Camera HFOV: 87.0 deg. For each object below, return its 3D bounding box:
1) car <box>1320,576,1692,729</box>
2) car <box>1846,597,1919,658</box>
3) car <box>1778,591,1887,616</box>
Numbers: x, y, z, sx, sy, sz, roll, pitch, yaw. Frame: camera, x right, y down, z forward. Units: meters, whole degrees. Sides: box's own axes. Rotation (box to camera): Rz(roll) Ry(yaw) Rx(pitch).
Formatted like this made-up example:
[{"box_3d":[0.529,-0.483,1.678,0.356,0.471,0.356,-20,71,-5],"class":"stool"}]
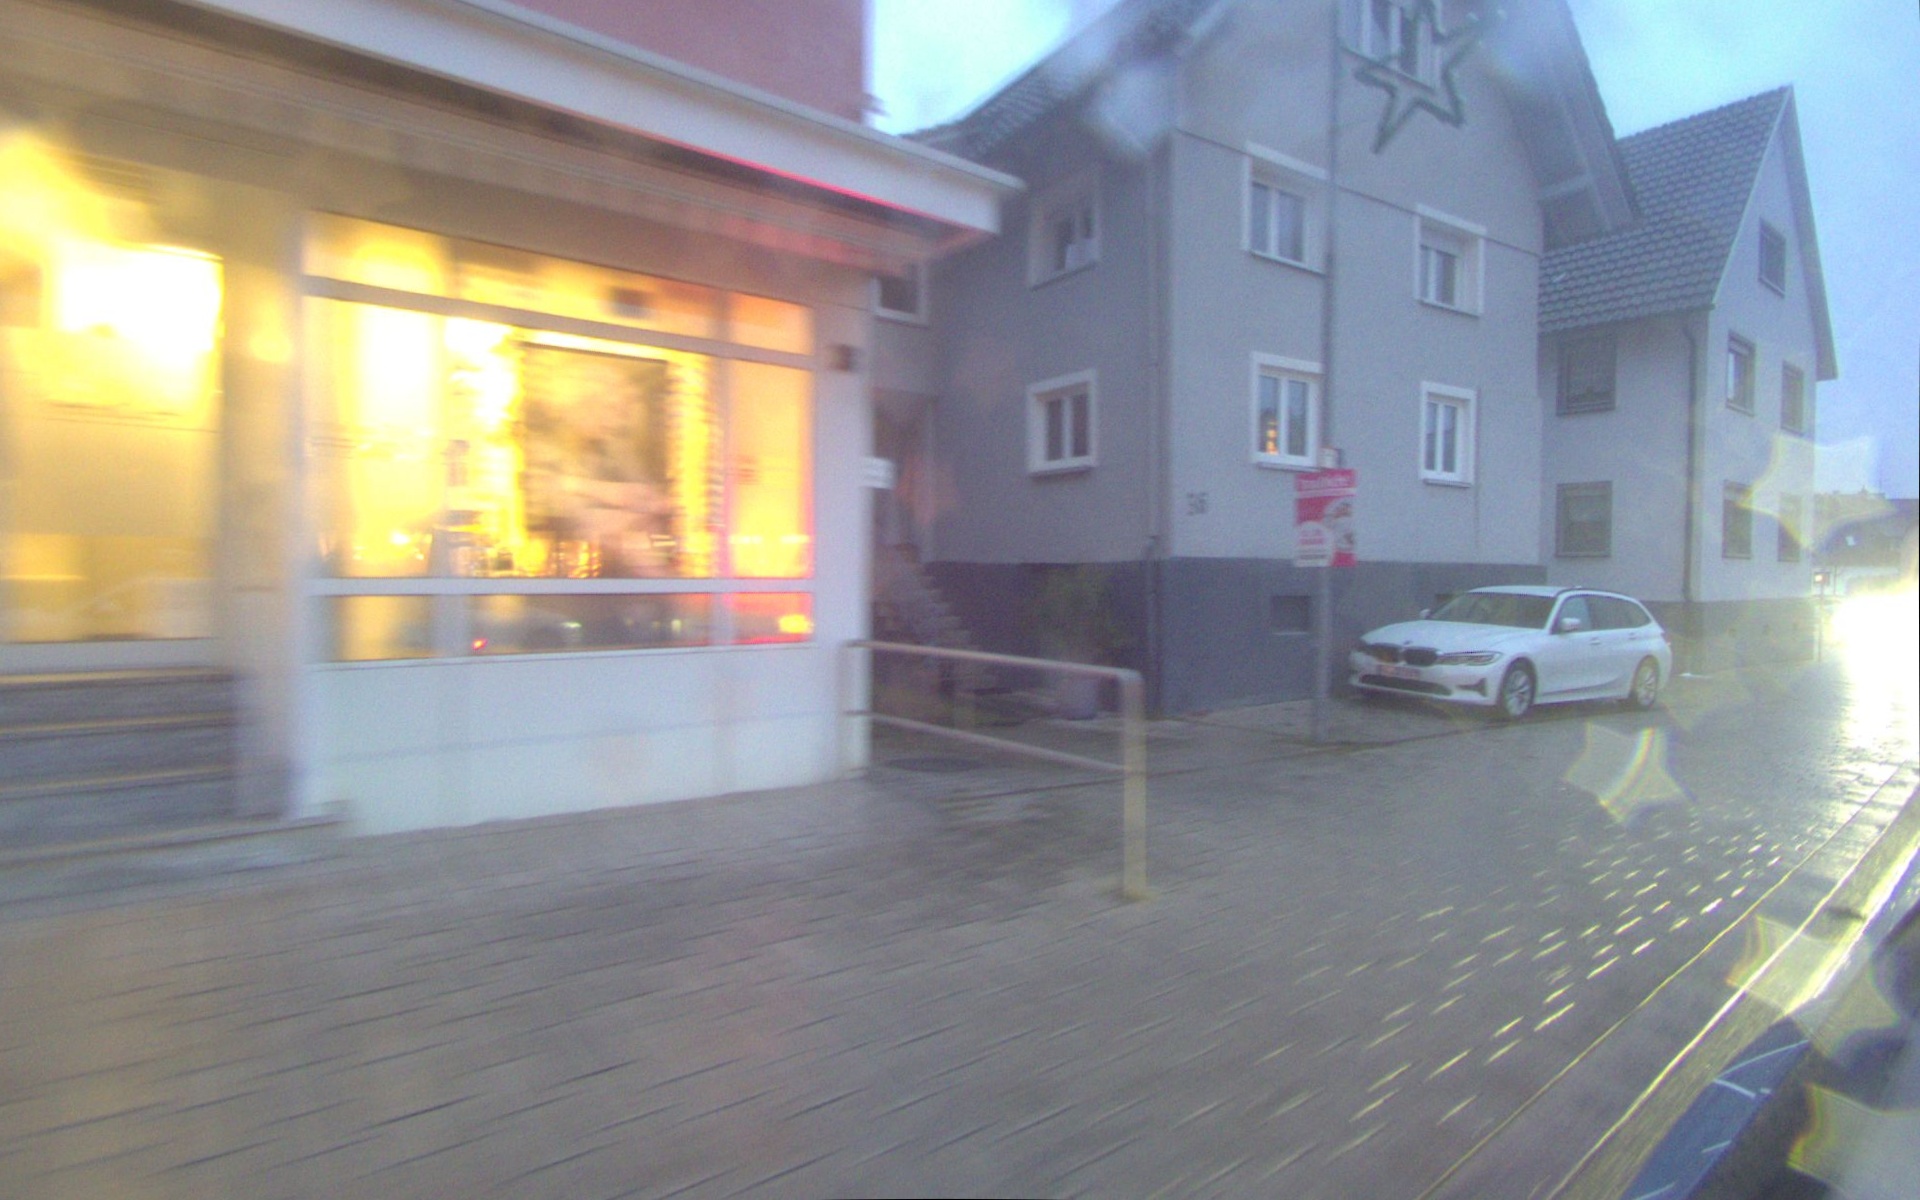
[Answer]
[{"box_3d":[6.589,0.496,12.063,4.605,1.504,1.937,0,0,-33],"class":"car"},{"box_3d":[32.874,0.904,35.514,1.984,2.039,3.956,0,0,31],"class":"car"},{"box_3d":[47.480,0.199,55.179,4.214,1.315,1.977,0,0,32],"class":"car"}]
